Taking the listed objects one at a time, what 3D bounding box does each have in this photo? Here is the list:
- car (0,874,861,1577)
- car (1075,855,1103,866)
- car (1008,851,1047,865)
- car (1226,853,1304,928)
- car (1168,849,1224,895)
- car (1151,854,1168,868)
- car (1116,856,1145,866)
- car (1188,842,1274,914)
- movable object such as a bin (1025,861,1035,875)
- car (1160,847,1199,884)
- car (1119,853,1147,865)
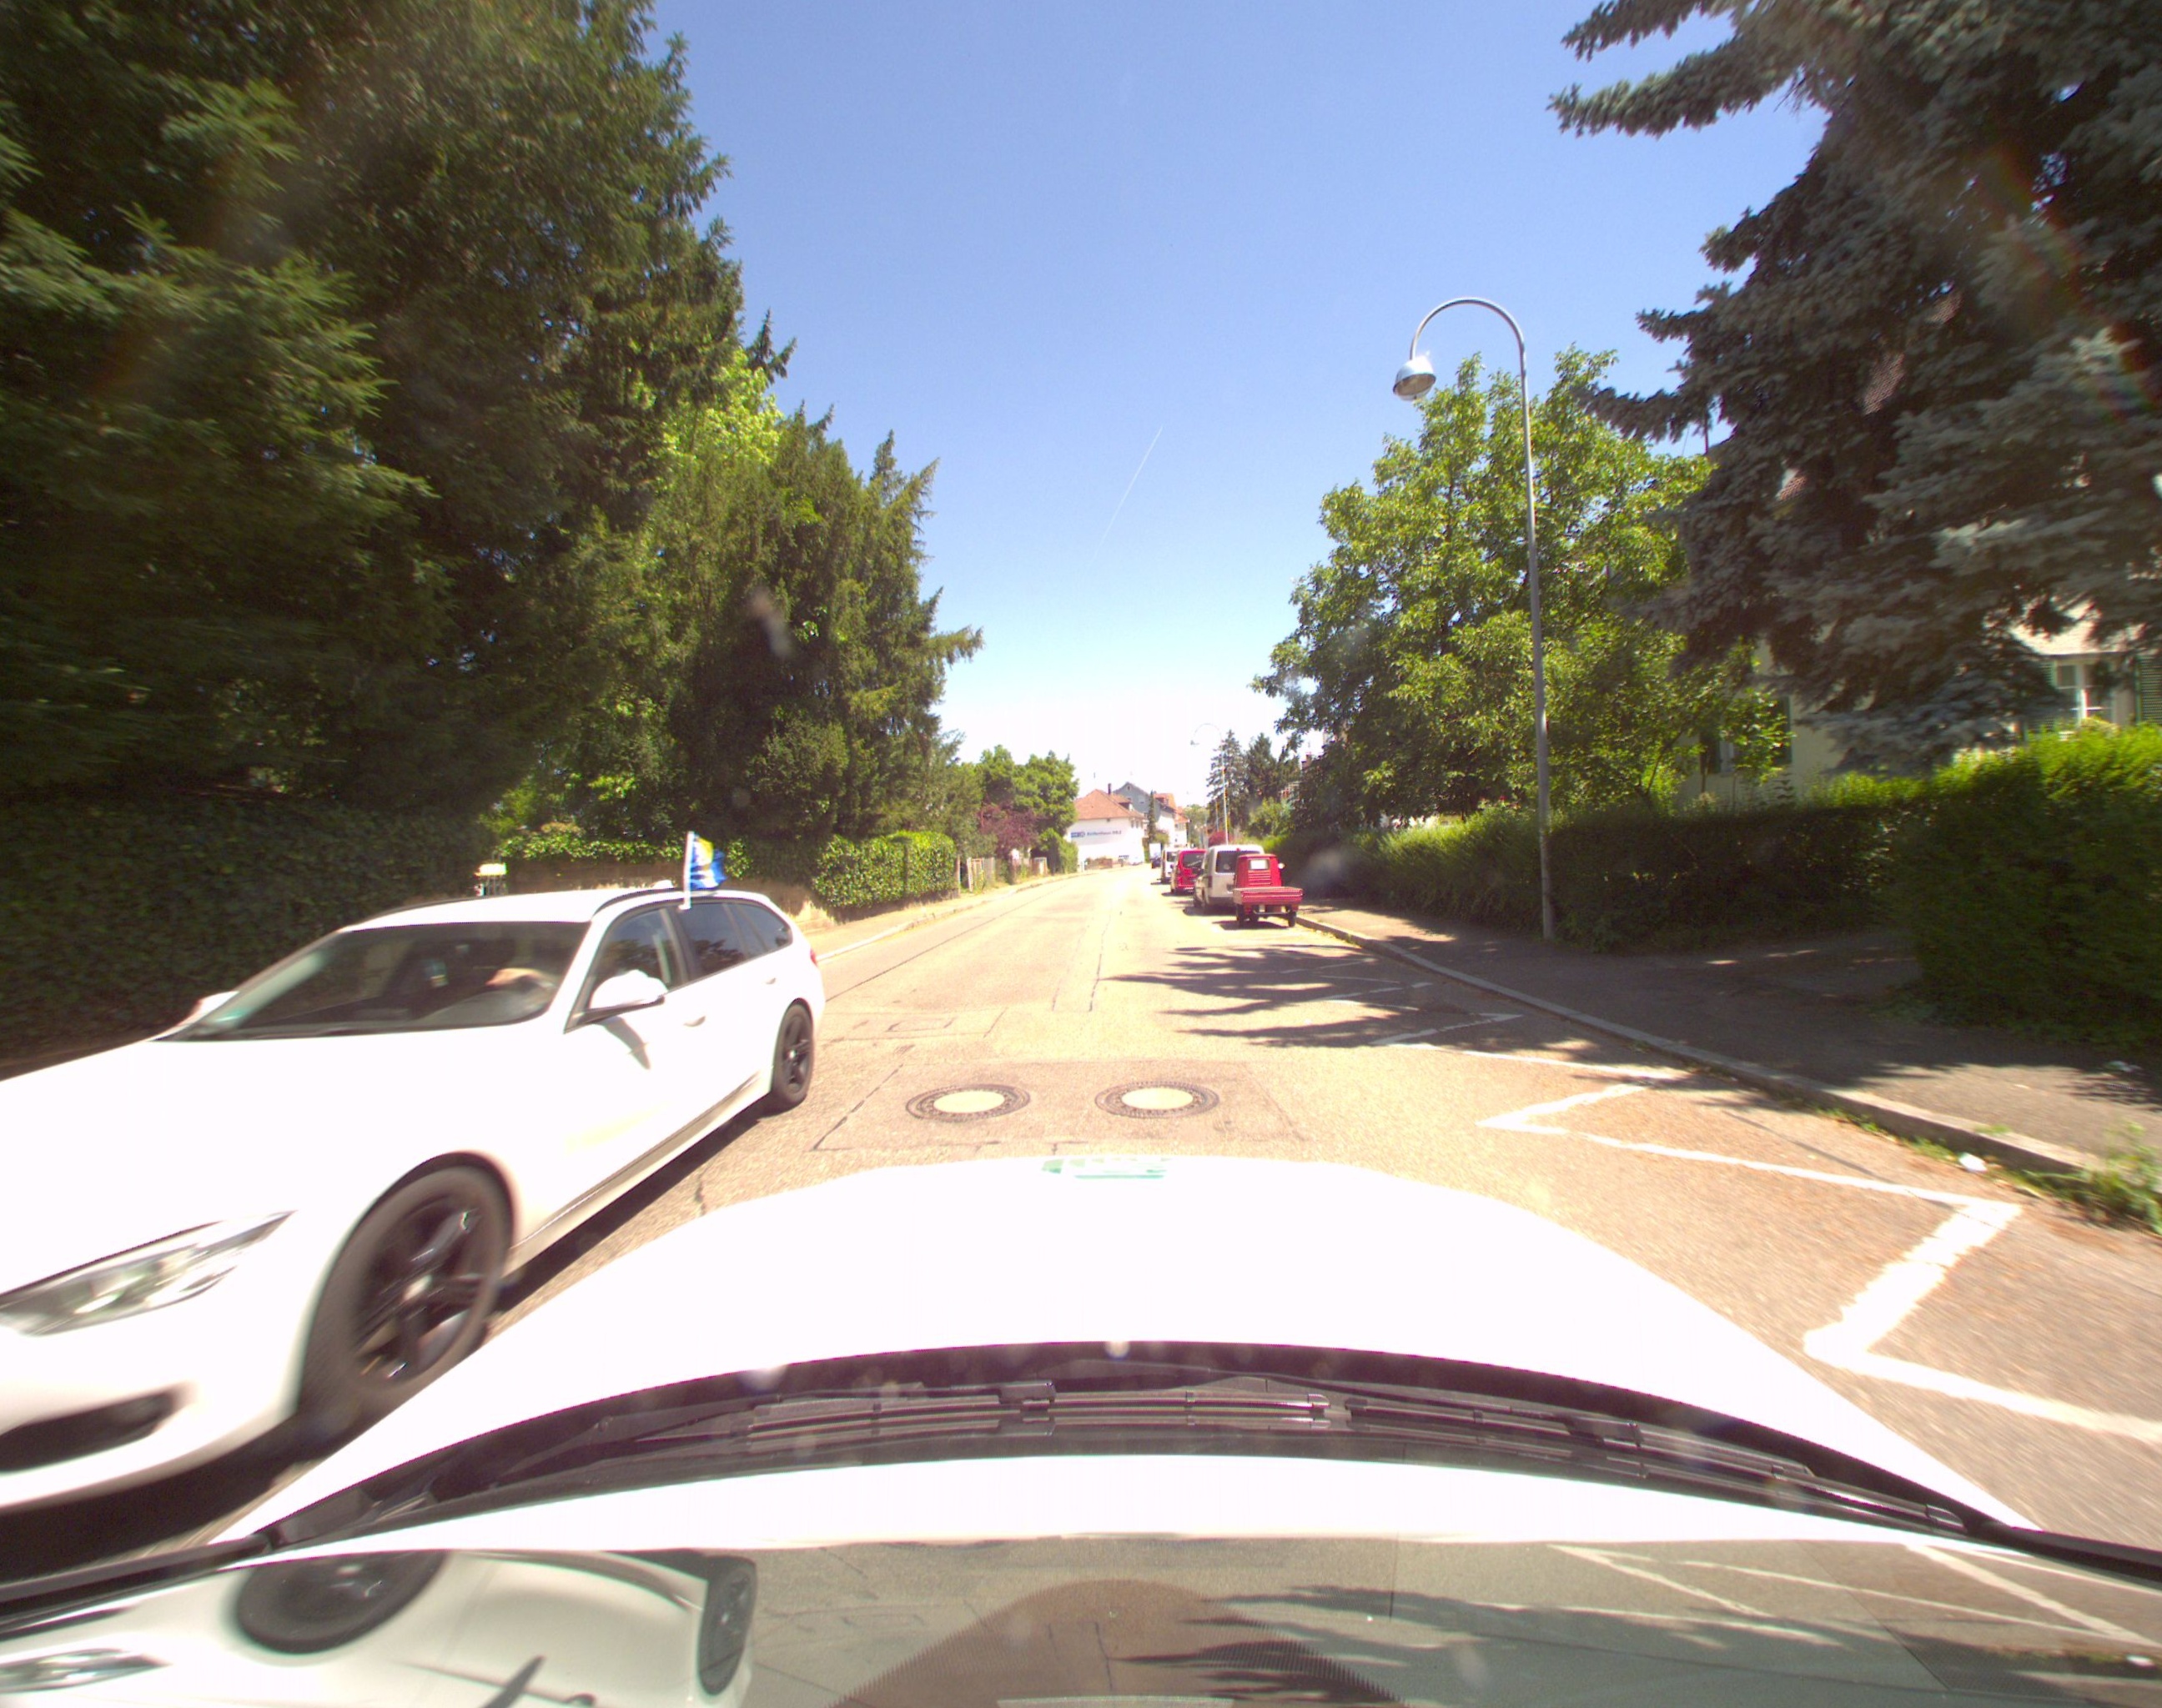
[{"bbox_3d":[-2.762,0.892,4.075,1.857,1.383,4.606,-3,0,2],"label":"car"},{"bbox_3d":[1.144,0.923,118.213,1.810,1.510,3.952,-2,1,-42],"label":"car"},{"bbox_3d":[-5.608,0.425,86.146,3.974,1.510,1.800,-1,0,0],"label":"car"},{"bbox_3d":[3.901,0.733,17.569,1.255,1.495,2.712,0,0,4],"label":"car"},{"bbox_3d":[4.482,0.685,32.365,1.894,1.728,4.395,0,0,4],"label":"car"},{"bbox_3d":[9.251,0.810,95.896,1.783,1.510,4.011,0,1,9],"label":"car"},{"bbox_3d":[7.652,1.040,125.636,4.102,1.394,1.834,-2,0,11],"label":"car"},{"bbox_3d":[4.021,0.597,22.502,1.739,1.782,4.546,0,0,3],"label":"car"},{"bbox_3d":[-3.718,1.005,59.495,0.705,0.996,0.474,-2,0,2],"label":"movable object such as a bin"},{"bbox_3d":[5.453,0.593,45.627,1.894,1.924,4.723,-2,0,4],"label":"car"},{"bbox_3d":[8.187,0.827,128.364,4.105,1.774,1.833,-2,0,8],"label":"car"}]
